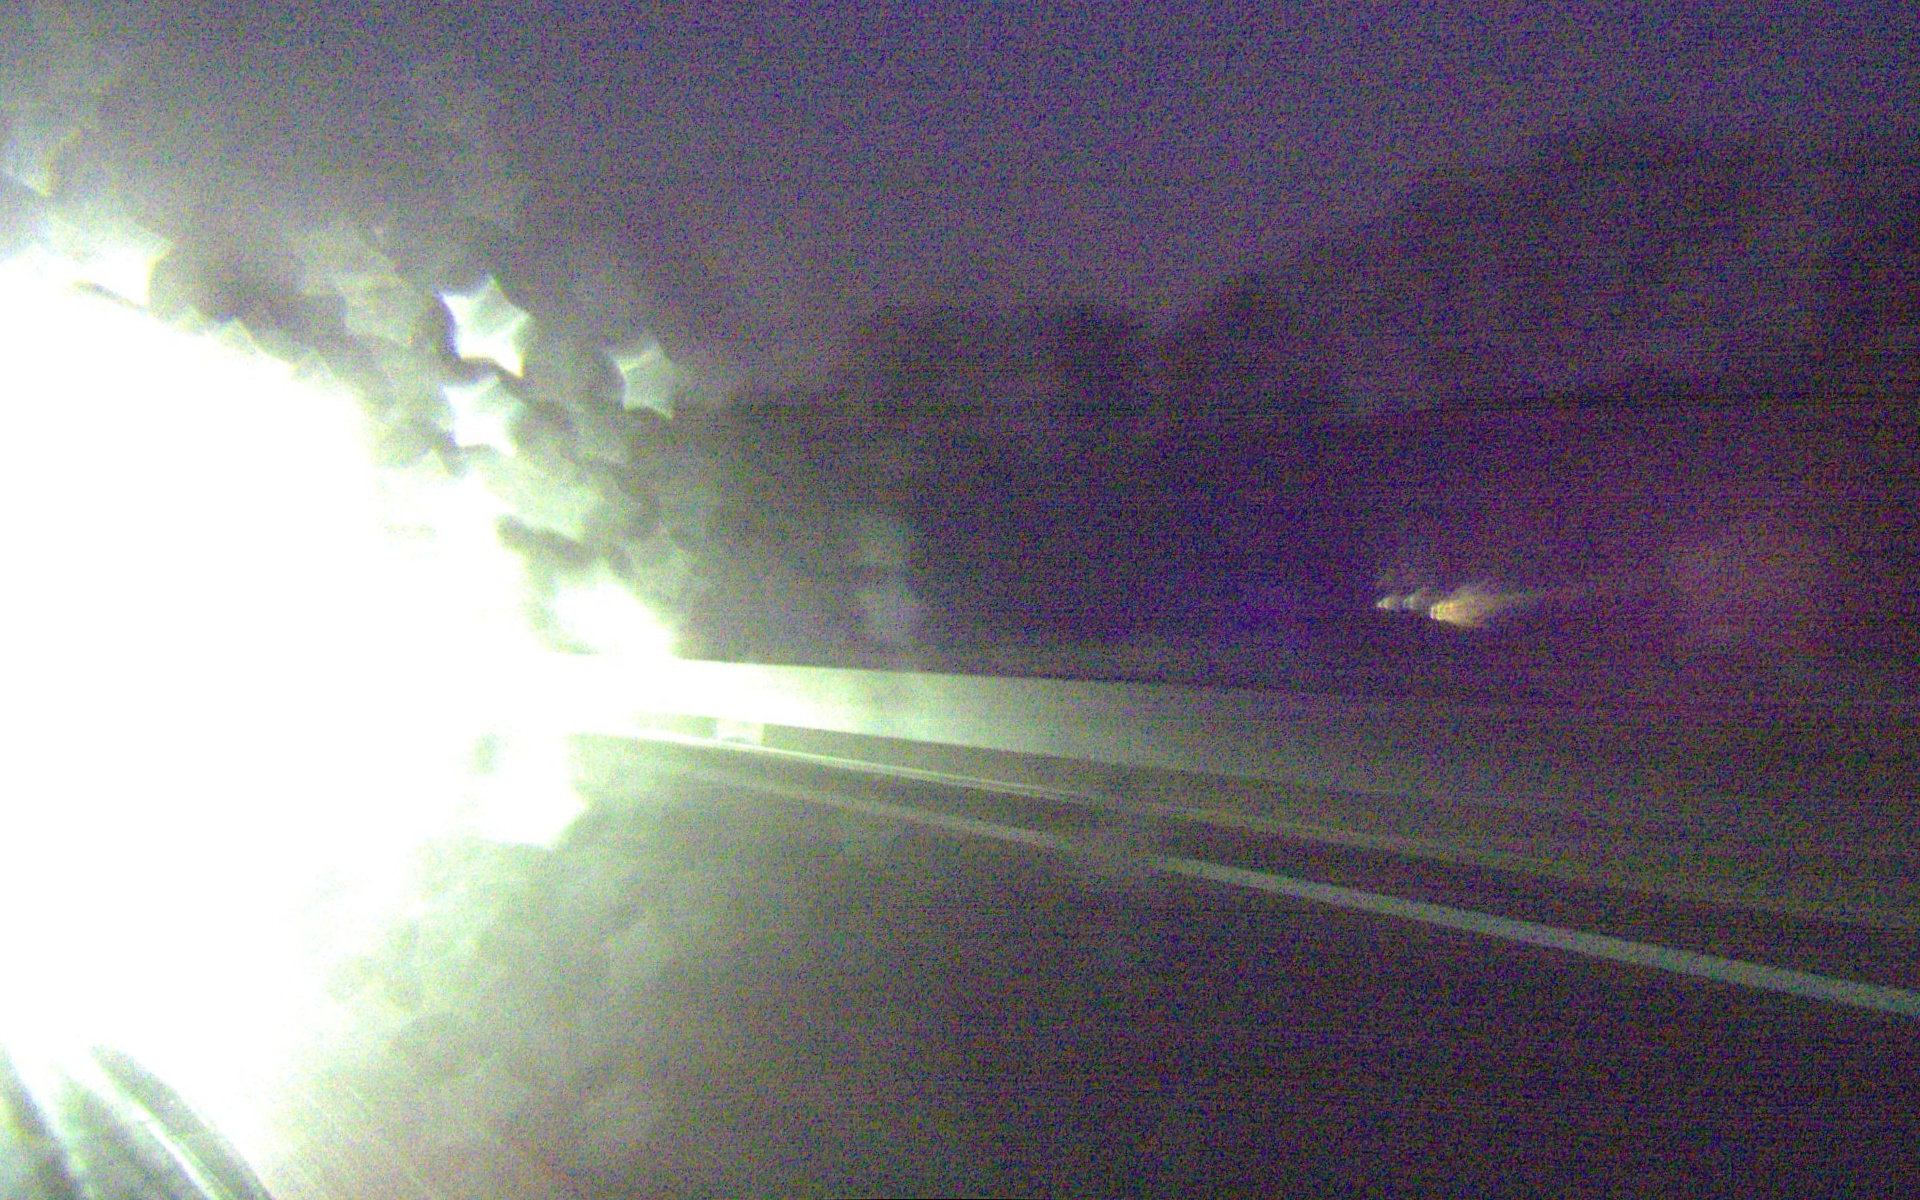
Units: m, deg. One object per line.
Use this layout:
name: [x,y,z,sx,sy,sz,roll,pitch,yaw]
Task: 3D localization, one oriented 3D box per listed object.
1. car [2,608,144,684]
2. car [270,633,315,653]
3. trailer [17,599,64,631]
car: [-20.991,1.064,23.905,2.277,1.621,3.874,4,-3,-44]
car: [-52.820,3.373,80.053,3.998,1.497,1.973,-2,0,42]
trailer: [-144.664,2.355,159.134,13.957,4.659,4.122,-1,-3,43]
